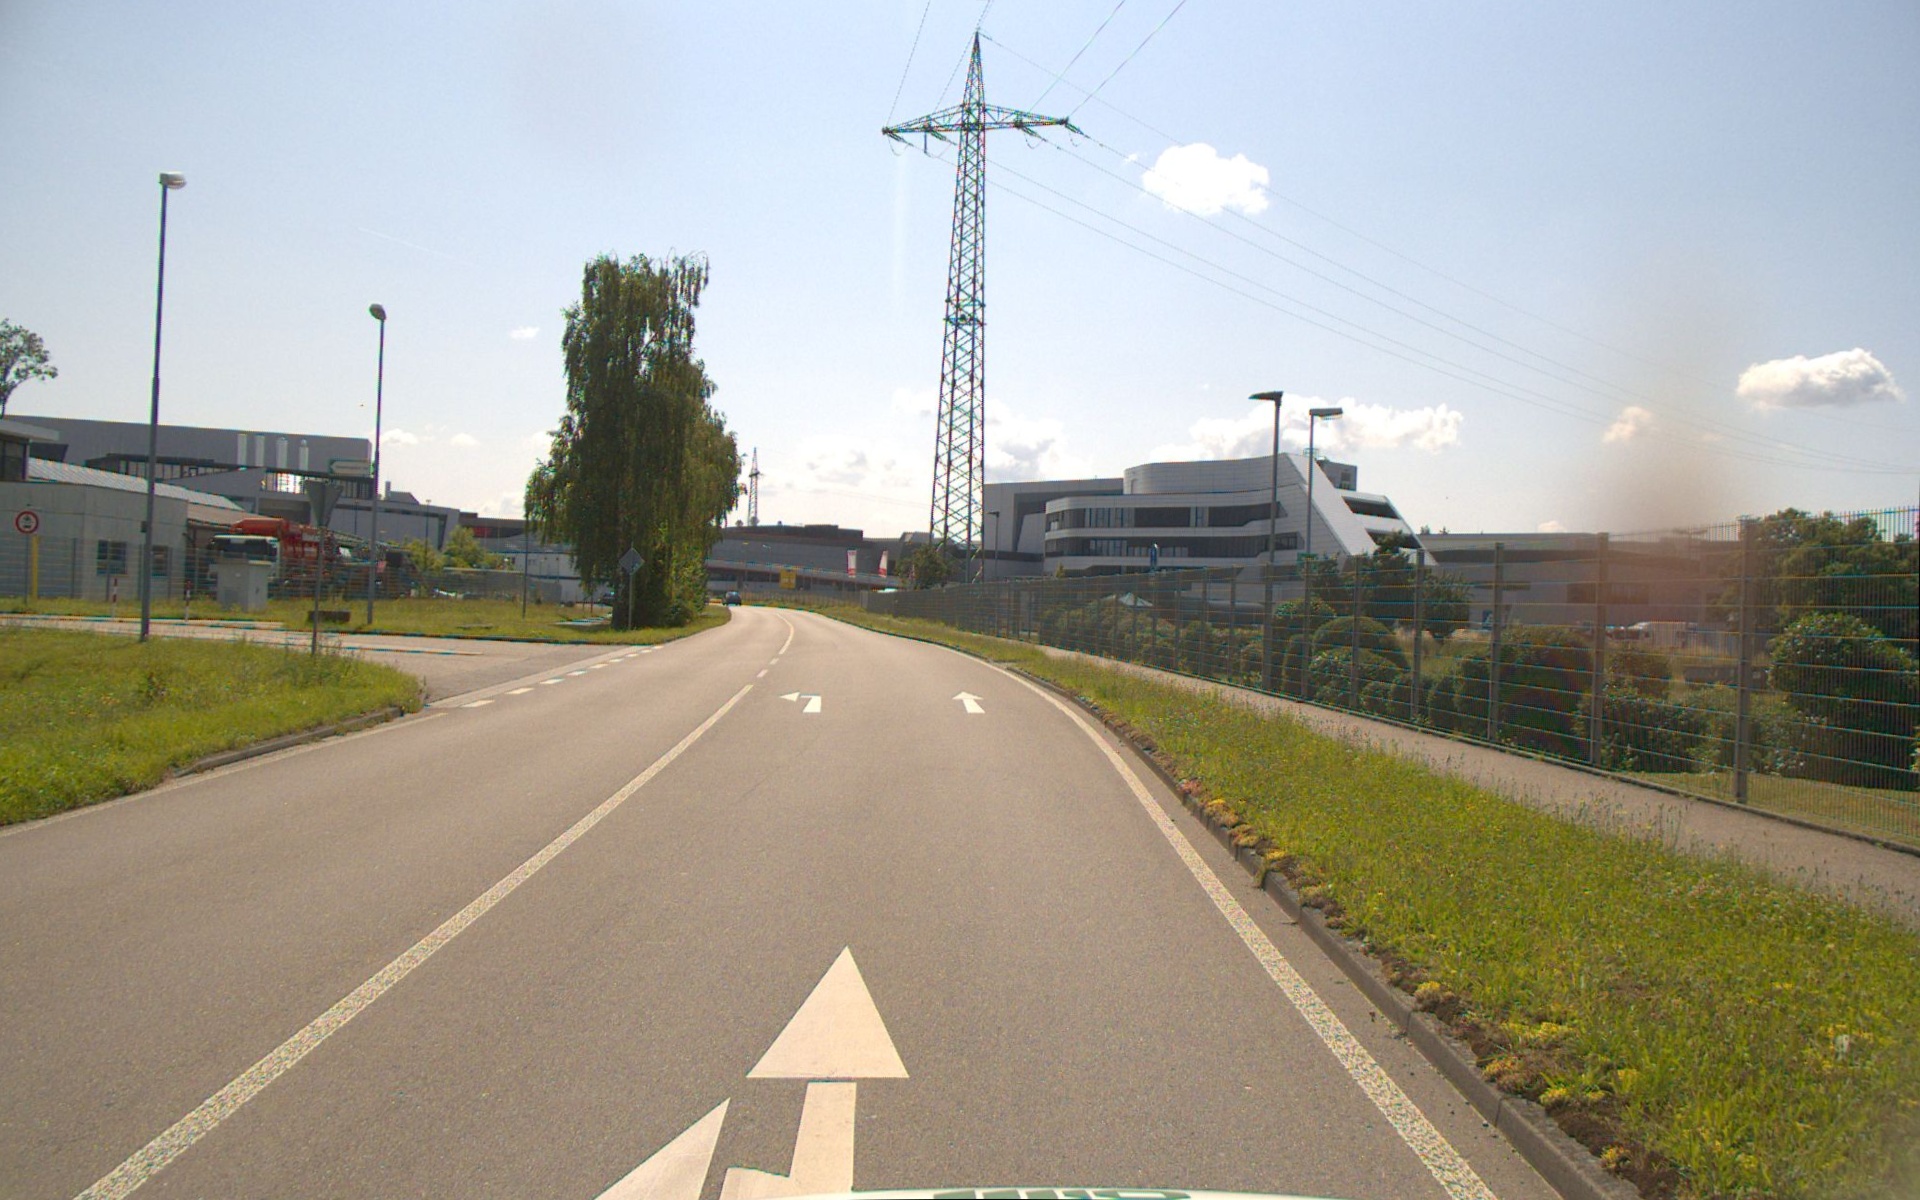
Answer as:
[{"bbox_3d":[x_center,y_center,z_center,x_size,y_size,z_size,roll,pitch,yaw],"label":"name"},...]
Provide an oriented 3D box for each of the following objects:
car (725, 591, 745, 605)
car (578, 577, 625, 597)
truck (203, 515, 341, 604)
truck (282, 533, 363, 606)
[{"bbox_3d":[-26.346,-0.196,193.698,1.973,1.534,3.996,3,0,-5],"label":"car"},{"bbox_3d":[-32.089,-1.159,148.187,3.912,1.601,1.996,3,0,-8],"label":"car"},{"bbox_3d":[-30.855,-1.717,74.697,2.700,3.620,10.254,3,0,-6],"label":"truck"},{"bbox_3d":[-32.538,-1.534,84.609,2.388,3.512,5.435,3,0,-6],"label":"truck"}]
